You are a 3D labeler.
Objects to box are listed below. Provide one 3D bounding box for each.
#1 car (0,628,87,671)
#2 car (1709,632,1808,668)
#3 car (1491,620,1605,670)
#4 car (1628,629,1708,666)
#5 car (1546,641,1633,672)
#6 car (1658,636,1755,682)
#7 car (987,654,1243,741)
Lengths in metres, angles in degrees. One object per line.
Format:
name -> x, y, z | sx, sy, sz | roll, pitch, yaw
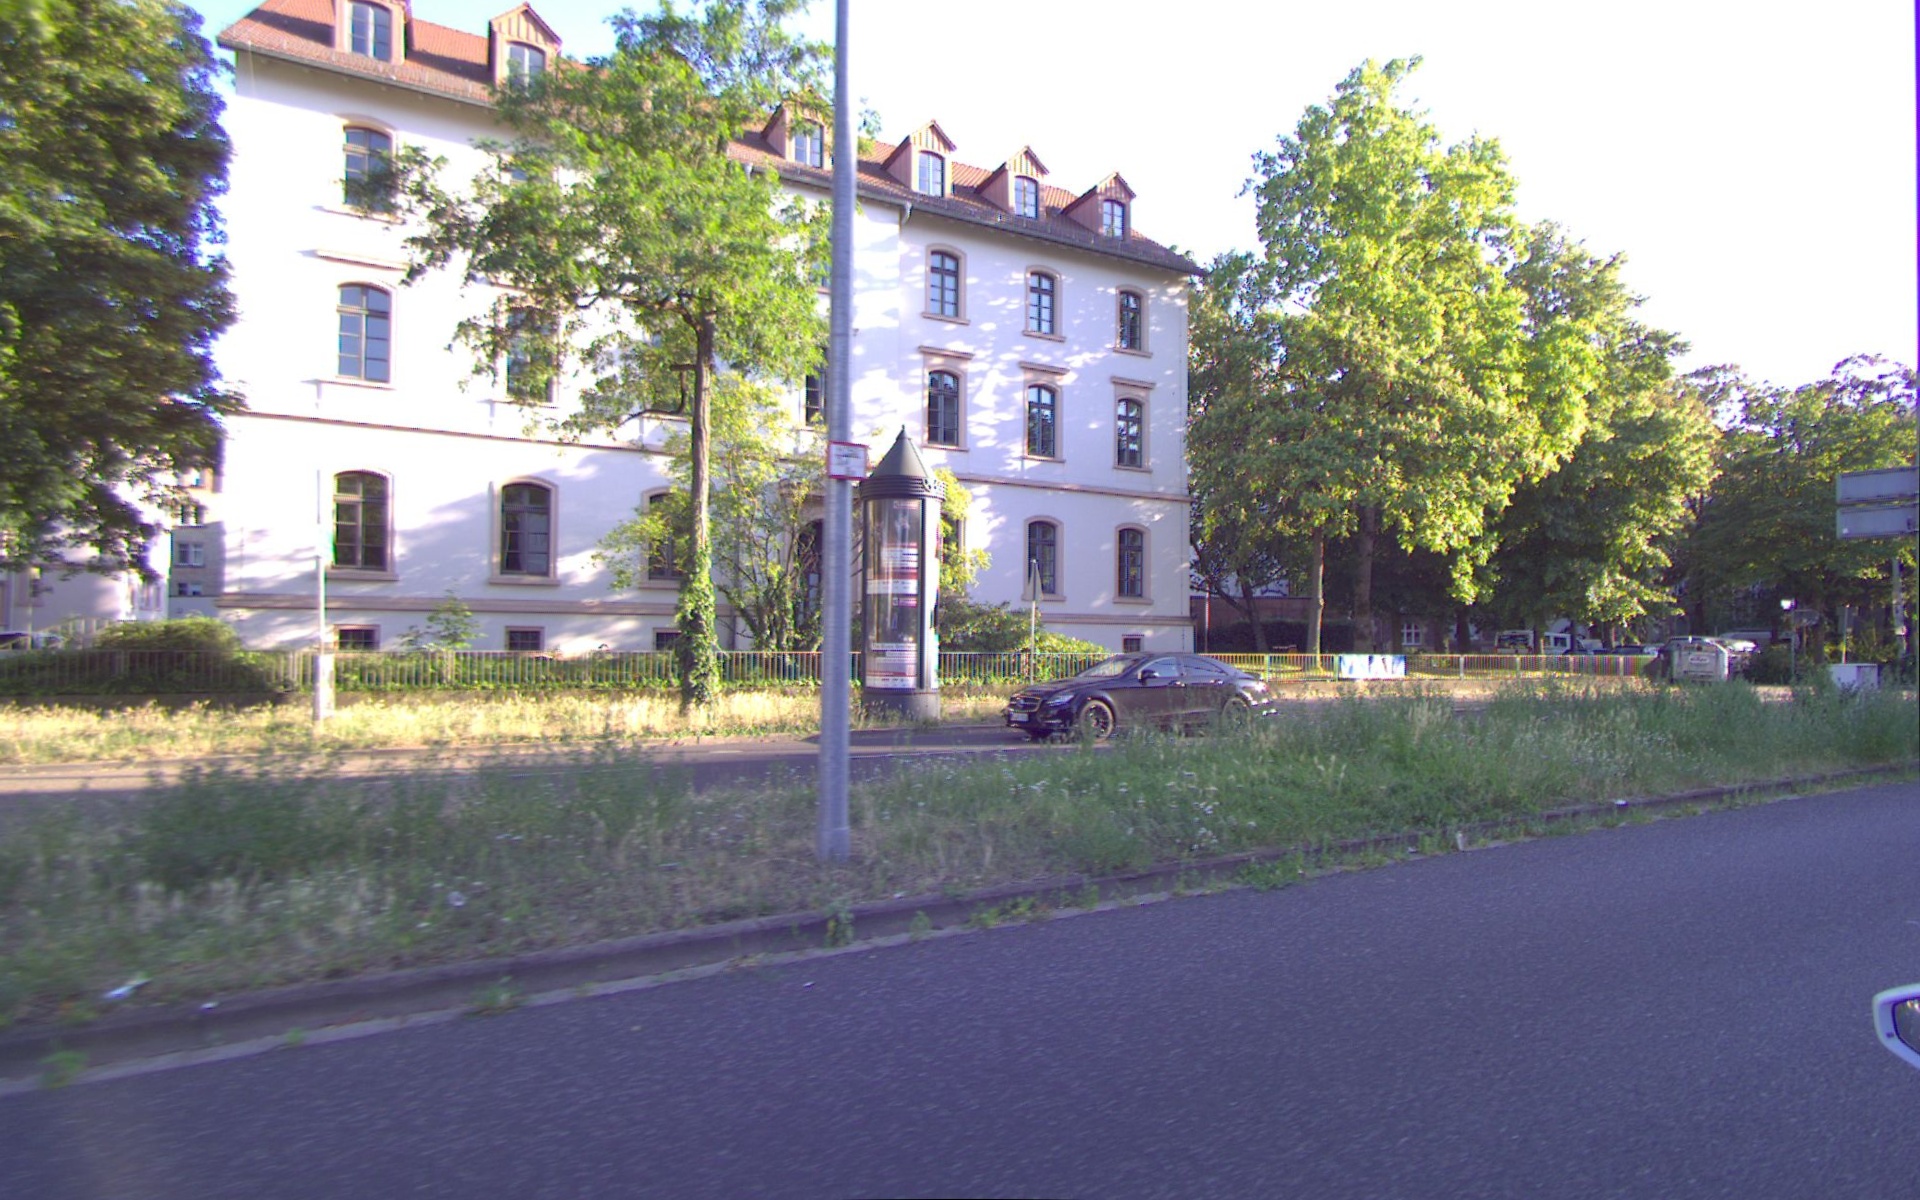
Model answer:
car -> -35.869, 1.930, 39.069 | 1.755, 1.568, 3.984 | 1, -3, -24
car -> 57.771, 3.579, 72.808 | 5.128, 2.518, 2.275 | 0, -2, 10
car -> 28.637, 2.197, 48.906 | 5.024, 2.319, 2.211 | 1, -2, -22
car -> 38.225, 2.560, 54.231 | 3.951, 1.907, 1.985 | 2, -1, -29
car -> 29.099, 2.597, 46.434 | 3.951, 1.349, 1.725 | 2, -2, -29
car -> 31.076, 2.431, 41.795 | 3.951, 1.819, 1.811 | 2, -2, -29
car -> 2.594, 1.585, 16.709 | 3.959, 1.289, 1.767 | 2, -6, -29
